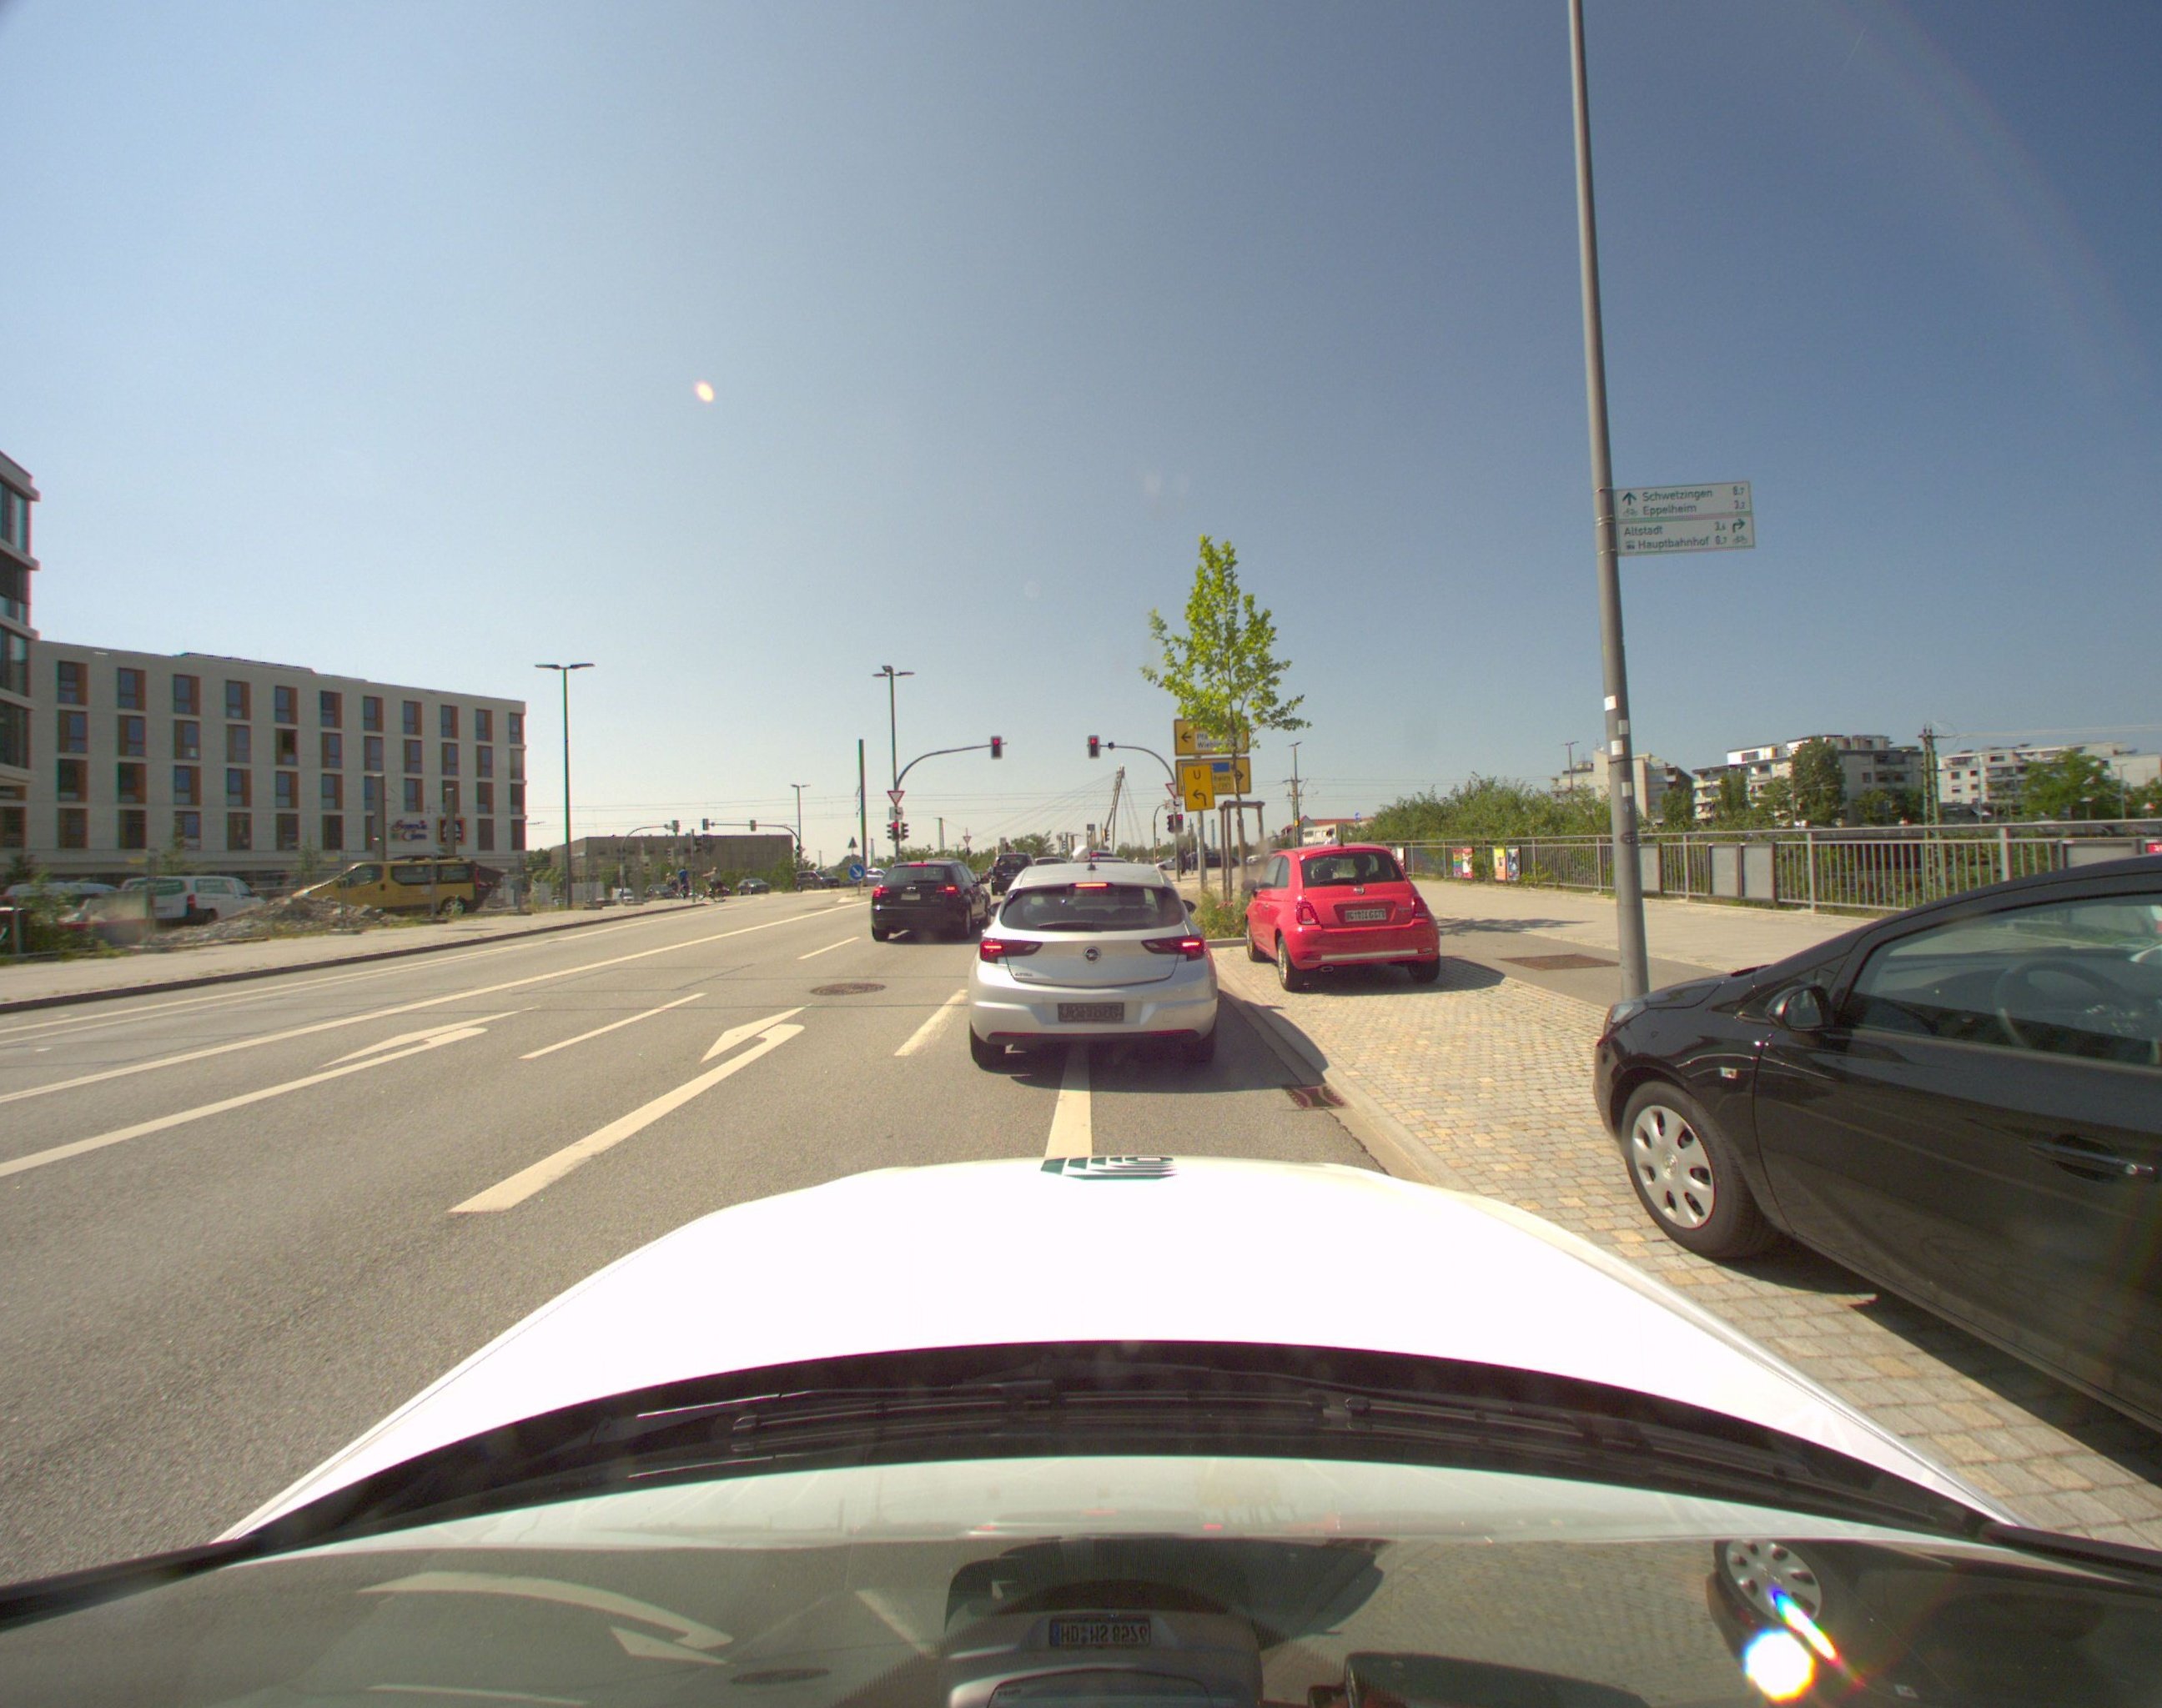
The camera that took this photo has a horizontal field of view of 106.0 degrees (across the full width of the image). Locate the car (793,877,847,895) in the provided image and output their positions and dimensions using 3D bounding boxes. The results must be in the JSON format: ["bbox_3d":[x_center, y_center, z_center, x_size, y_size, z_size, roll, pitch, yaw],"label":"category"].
[{"bbox_3d":[-22.614,2.729,70.621,4.428,1.455,2.012,-1,-1,31],"label":"car"}]

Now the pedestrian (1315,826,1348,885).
[{"bbox_3d":[7.902,0.057,25.725,0.755,1.830,0.885,0,-1,1],"label":"pedestrian"}]

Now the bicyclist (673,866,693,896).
[{"bbox_3d":[-21.146,1.420,43.302,0.866,1.560,0.816,1,-1,-32],"label":"bicyclist"}]

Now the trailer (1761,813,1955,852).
[{"bbox_3d":[68.055,-1.788,71.301,17.225,3.204,3.723,0,-1,-14],"label":"trailer"}]

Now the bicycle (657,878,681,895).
[{"bbox_3d":[-25.125,1.989,49.679,0.609,1.007,2.481,1,-2,-43],"label":"bicycle"}]

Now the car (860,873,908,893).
[{"bbox_3d":[-14.897,2.191,61.713,3.118,1.439,1.593,0,-1,18],"label":"car"}]

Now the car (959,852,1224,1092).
[{"bbox_3d":[0.115,0.775,7.398,1.685,1.520,4.271,-1,0,1],"label":"car"}]

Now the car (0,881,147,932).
[{"bbox_3d":[-33.710,1.684,27.269,1.809,1.508,3.965,0,-1,-27],"label":"car"}]

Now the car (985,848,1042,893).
[{"bbox_3d":[-2.571,0.629,31.859,1.797,1.622,3.917,-1,-1,1],"label":"car"}]

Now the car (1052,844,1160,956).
[{"bbox_3d":[0.415,0.725,14.143,1.629,1.674,3.745,0,-1,1],"label":"car"}]

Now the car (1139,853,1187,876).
[{"bbox_3d":[7.794,1.008,77.663,3.994,2.014,1.989,-2,-2,-15],"label":"car"}]

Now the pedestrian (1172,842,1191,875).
[{"bbox_3d":[5.611,0.261,45.458,0.744,1.863,0.747,-1,-2,43],"label":"pedestrian"}]

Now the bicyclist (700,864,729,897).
[{"bbox_3d":[-17.858,1.272,39.677,0.939,1.569,0.825,0,-1,12],"label":"bicyclist"}]

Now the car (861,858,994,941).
[{"bbox_3d":[-2.841,0.806,15.913,1.699,1.412,4.001,0,-1,2],"label":"car"}]

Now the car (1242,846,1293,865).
[{"bbox_3d":[17.610,0.151,76.895,4.254,1.673,1.989,-1,-1,-16],"label":"car"}]

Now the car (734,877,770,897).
[{"bbox_3d":[-31.585,3.145,78.155,1.728,1.741,4.160,1,-1,-45],"label":"car"}]

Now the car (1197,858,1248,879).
[{"bbox_3d":[10.999,1.126,63.410,3.503,1.641,1.796,0,-1,-7],"label":"car"}]

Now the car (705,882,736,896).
[{"bbox_3d":[-38.565,3.721,87.016,3.950,1.455,1.694,-1,-1,44],"label":"car"}]

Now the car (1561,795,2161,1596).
[{"bbox_3d":[2.879,0.638,1.738,1.576,1.555,3.548,-4,0,1],"label":"car"}]

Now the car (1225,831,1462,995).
[{"bbox_3d":[2.956,0.567,10.067,1.663,1.539,3.917,-3,0,1],"label":"car"}]

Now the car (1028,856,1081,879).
[{"bbox_3d":[-1.931,0.985,59.458,3.808,1.629,1.854,0,-1,-4],"label":"car"}]

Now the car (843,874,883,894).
[{"bbox_3d":[-22.802,3.107,85.155,3.948,2.014,2.013,-2,-1,36],"label":"car"}]

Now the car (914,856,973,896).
[{"bbox_3d":[-5.219,0.829,31.194,1.581,1.395,3.340,-1,-1,1],"label":"car"}]

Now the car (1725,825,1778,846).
[{"bbox_3d":[65.472,-1.799,79.564,3.993,2.014,1.990,0,-1,-14],"label":"car"}]

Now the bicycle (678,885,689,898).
[{"bbox_3d":[-23.182,2.153,47.471,0.517,0.692,2.233,-1,-1,-28],"label":"bicycle"}]

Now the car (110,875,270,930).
[{"bbox_3d":[-31.087,1.626,28.634,2.003,1.707,4.526,0,-1,-23],"label":"car"}]

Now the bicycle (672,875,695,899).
[{"bbox_3d":[-21.236,1.745,43.472,0.731,1.134,2.506,-7,2,-32],"label":"bicycle"}]

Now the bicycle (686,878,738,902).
[{"bbox_3d":[-17.987,1.751,39.685,2.342,1.127,0.679,0,-1,11],"label":"bicycle"}]

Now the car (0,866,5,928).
[{"bbox_3d":[-36.192,1.401,25.021,2.220,2.056,4.133,0,-1,-28],"label":"car"}]

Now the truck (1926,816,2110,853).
[{"bbox_3d":[88.231,-1.763,76.656,17.857,3.204,3.723,0,-1,-14],"label":"truck"}]

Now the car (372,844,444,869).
[{"bbox_3d":[-54.377,0.207,65.867,3.990,2.014,1.991,0,-1,-12],"label":"car"}]

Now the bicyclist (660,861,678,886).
[{"bbox_3d":[-25.131,1.211,49.664,0.848,1.502,0.651,1,-2,-45],"label":"bicyclist"}]

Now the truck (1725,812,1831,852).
[{"bbox_3d":[59.026,-1.791,69.043,6.478,3.204,3.721,0,-1,-14],"label":"truck"}]

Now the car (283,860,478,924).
[{"bbox_3d":[-22.639,1.148,26.477,1.974,1.890,4.514,-1,-1,40],"label":"car"}]

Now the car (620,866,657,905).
[{"bbox_3d":[-24.172,1.653,44.465,1.680,2.014,3.963,0,-1,-29],"label":"car"}]

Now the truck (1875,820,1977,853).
[{"bbox_3d":[84.019,-1.711,80.956,9.890,3.158,2.492,0,-1,-15],"label":"truck"}]
